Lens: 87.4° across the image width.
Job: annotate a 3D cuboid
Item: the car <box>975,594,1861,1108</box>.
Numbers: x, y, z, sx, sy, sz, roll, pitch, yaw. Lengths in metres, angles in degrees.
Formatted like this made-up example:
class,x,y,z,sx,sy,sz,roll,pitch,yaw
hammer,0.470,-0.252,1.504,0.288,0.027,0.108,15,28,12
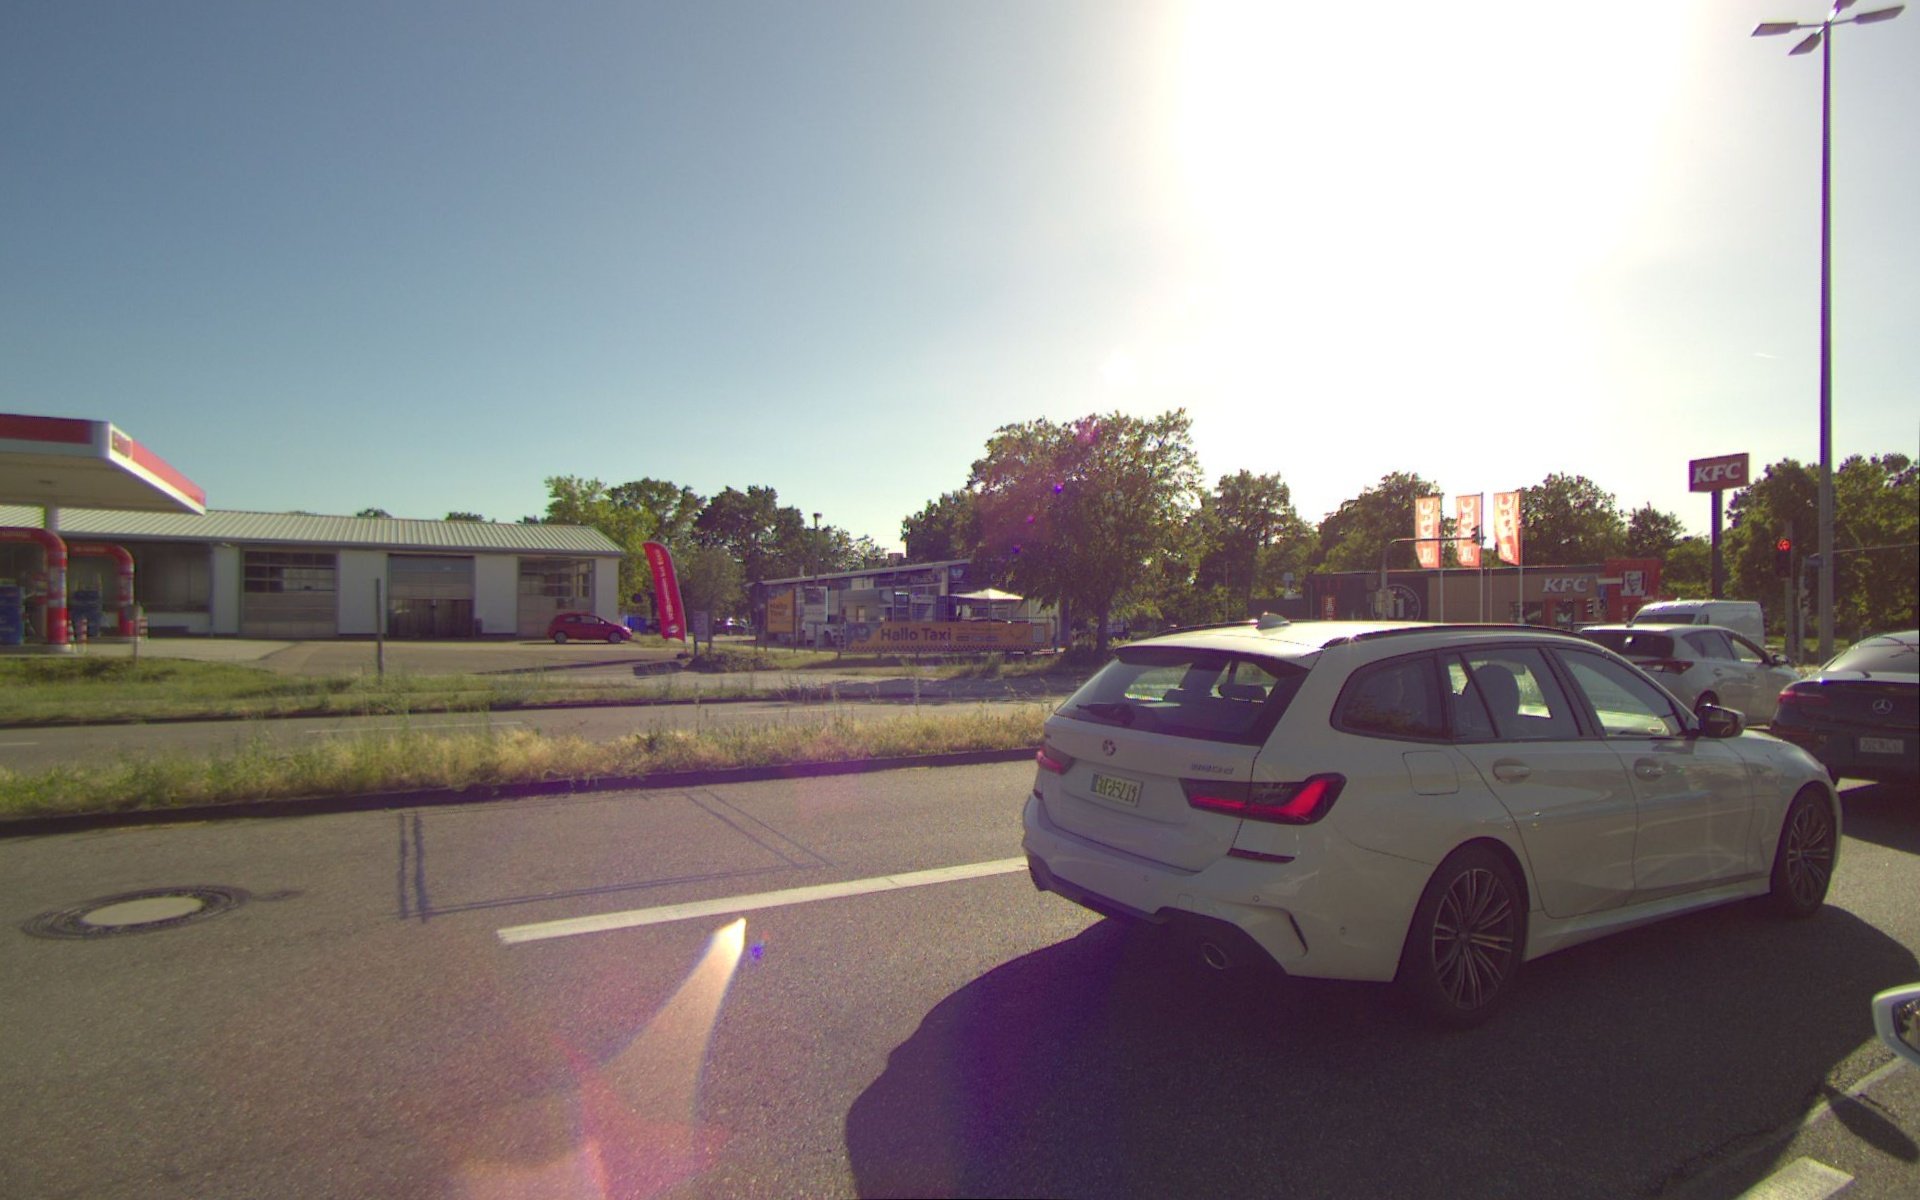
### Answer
class,x,y,z,sx,sy,sz,roll,pitch,yaw
car,2.388,0.801,4.878,4.353,1.510,1.776,2,0,-31

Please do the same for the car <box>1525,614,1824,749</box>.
class,x,y,z,sx,sy,sz,roll,pitch,yaw
car,9.580,1.003,13.397,4.150,1.510,1.750,2,0,-31

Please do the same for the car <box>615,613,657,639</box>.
class,x,y,z,sx,sy,sz,roll,pitch,yaw
car,-19.300,1.550,59.688,1.634,1.383,3.744,2,0,-29

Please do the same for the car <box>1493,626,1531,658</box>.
class,x,y,z,sx,sy,sz,roll,pitch,yaw
car,33.093,2.474,60.207,1.880,1.776,4.349,2,0,29

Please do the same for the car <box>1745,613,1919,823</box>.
class,x,y,z,sx,sy,sz,roll,pitch,yaw
car,8.822,0.935,8.657,4.425,1.510,1.787,2,0,-31

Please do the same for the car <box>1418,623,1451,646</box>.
class,x,y,z,sx,sy,sz,roll,pitch,yaw
car,33.937,2.455,71.952,1.629,1.491,3.919,2,0,18

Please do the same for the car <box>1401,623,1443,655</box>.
class,x,y,z,sx,sy,sz,roll,pitch,yaw
car,28.347,2.344,61.524,1.964,1.788,4.349,2,0,29

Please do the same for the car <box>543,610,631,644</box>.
class,x,y,z,sx,sy,sz,roll,pitch,yaw
car,-18.344,1.339,49.409,3.946,1.537,1.772,2,0,-25

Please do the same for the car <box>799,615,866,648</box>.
class,x,y,z,sx,sy,sz,roll,pitch,yaw
car,-6.795,1.648,53.169,1.978,1.584,3.964,2,0,-32

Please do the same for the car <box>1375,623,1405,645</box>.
class,x,y,z,sx,sy,sz,roll,pitch,yaw
car,31.304,2.446,73.225,1.629,1.491,3.919,2,0,18

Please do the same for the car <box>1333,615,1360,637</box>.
class,x,y,z,sx,sy,sz,roll,pitch,yaw
car,28.293,1.909,73.660,1.629,1.491,3.919,2,0,18

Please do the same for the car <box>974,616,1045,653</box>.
class,x,y,z,sx,sy,sz,roll,pitch,yaw
car,2.400,1.669,49.561,1.839,1.613,3.974,2,0,-26

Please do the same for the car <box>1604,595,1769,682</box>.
class,x,y,z,sx,sy,sz,roll,pitch,yaw
car,22.608,1.242,31.185,5.756,2.478,2.013,2,-4,-31

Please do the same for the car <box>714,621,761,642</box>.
class,x,y,z,sx,sy,sz,roll,pitch,yaw
car,-19.401,2.724,87.685,3.929,1.634,1.996,2,0,-11

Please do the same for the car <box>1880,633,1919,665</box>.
class,x,y,z,sx,sy,sz,roll,pitch,yaw
car,48.459,2.484,50.683,4.425,1.509,1.751,2,-4,-30

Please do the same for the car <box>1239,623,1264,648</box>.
class,x,y,z,sx,sy,sz,roll,pitch,yaw
car,21.814,2.623,75.158,1.629,1.695,3.945,2,0,18
